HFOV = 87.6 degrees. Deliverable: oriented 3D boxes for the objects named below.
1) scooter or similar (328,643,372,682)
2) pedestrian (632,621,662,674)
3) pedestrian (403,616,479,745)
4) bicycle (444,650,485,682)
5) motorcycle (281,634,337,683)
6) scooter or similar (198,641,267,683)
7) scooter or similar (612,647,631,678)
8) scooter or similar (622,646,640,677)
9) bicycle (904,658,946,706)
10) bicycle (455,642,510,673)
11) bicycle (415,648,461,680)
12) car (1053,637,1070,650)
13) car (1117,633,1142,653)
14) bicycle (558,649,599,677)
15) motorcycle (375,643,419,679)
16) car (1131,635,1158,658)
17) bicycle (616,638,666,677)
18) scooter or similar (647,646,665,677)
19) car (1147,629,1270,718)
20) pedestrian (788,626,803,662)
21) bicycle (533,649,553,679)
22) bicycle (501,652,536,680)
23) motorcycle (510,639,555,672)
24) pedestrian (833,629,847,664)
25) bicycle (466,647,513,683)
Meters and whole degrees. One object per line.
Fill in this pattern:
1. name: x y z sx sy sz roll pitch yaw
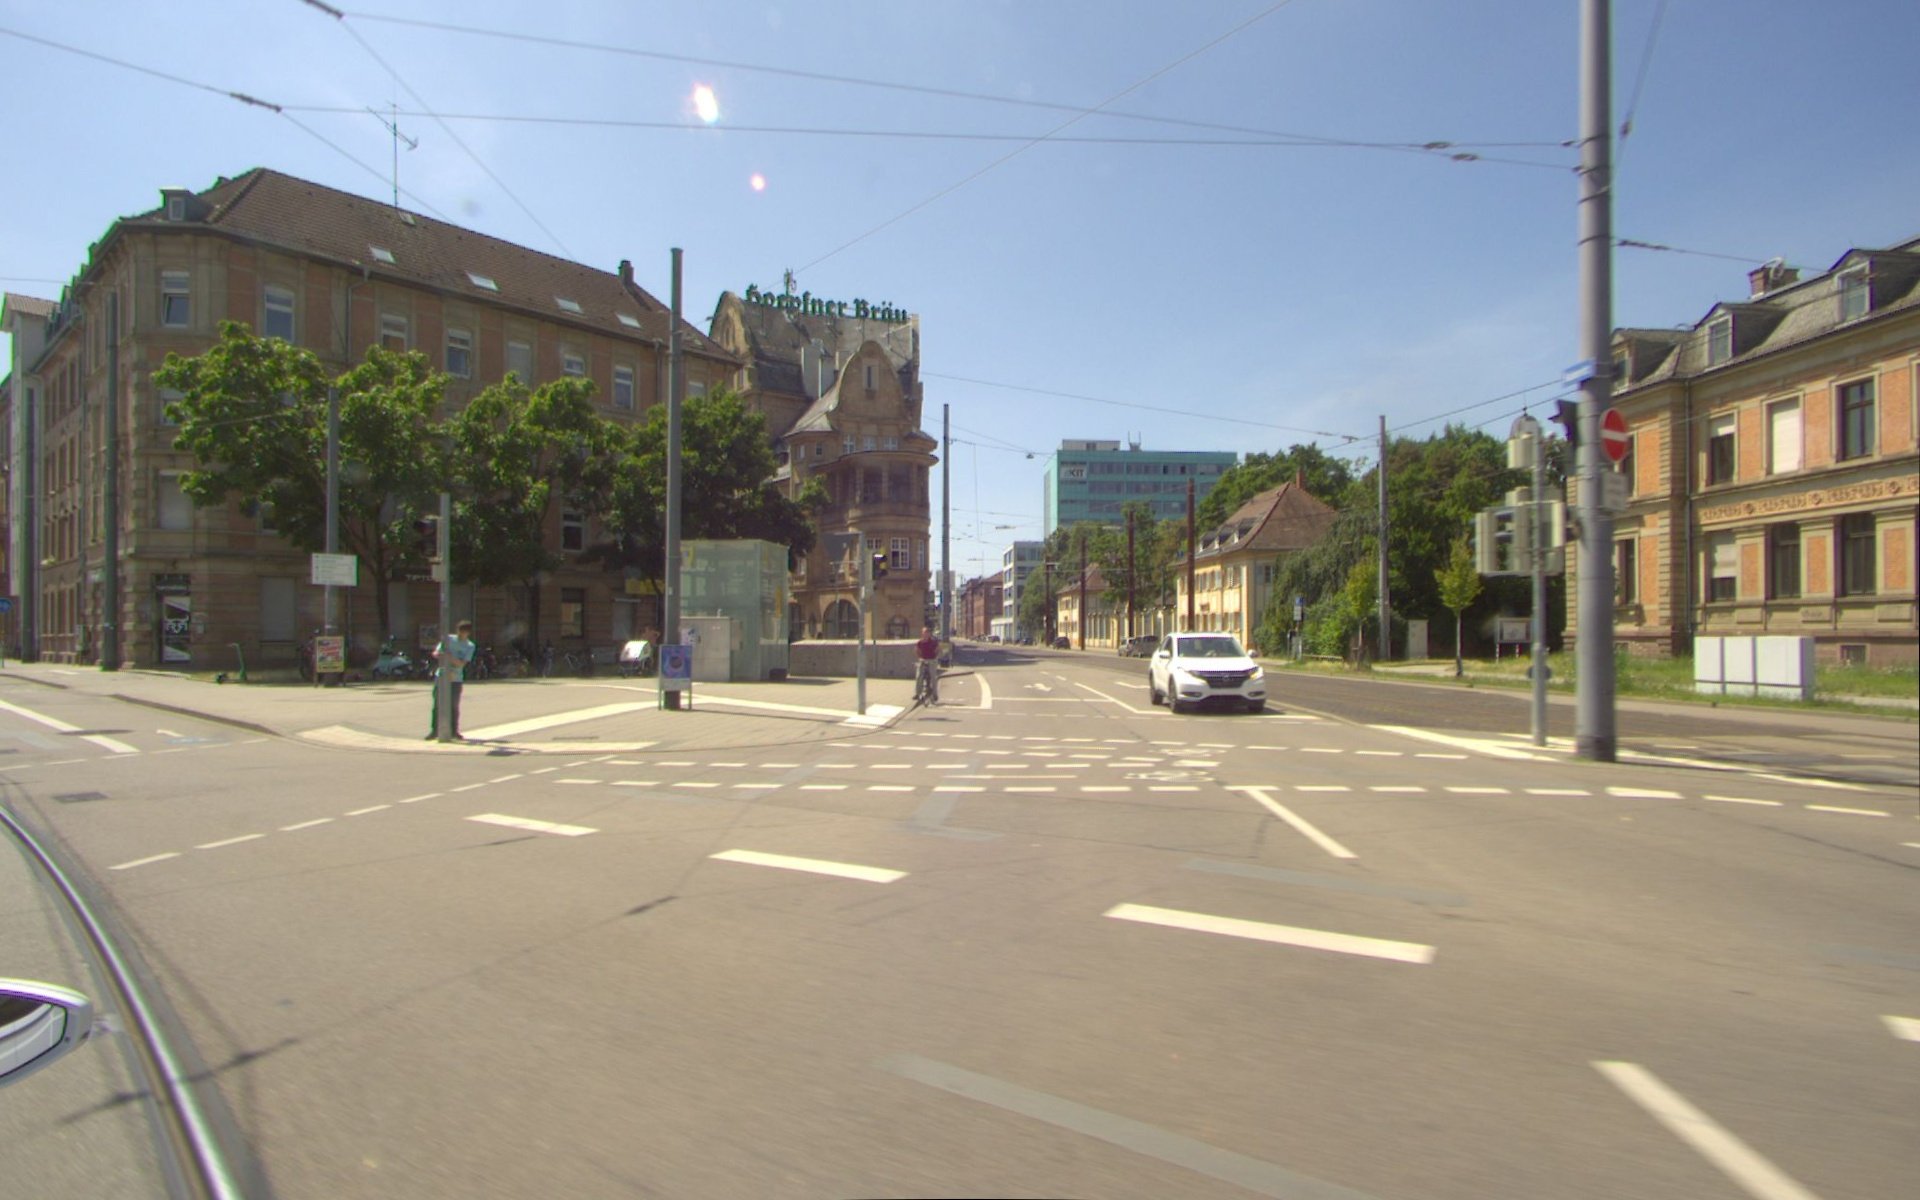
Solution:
1. scooter or similar: -18.611 1.899 30.529 1.360 1.166 0.599 -2 -2 32
2. pedestrian: -10.839 1.645 34.737 0.798 1.798 0.825 0 -2 -3
3. pedestrian: -7.487 1.145 14.494 0.795 1.802 0.873 1 -1 -16
4. bicycle: -16.395 2.166 33.091 1.819 0.977 0.641 -1 -2 44
5. motorcycle: -19.239 1.707 29.571 2.567 1.379 0.760 -2 -2 42
6. scooter or similar: -21.014 1.782 28.957 0.702 1.170 1.524 0 -1 12
7. scooter or similar: -12.714 2.341 37.667 0.263 1.140 0.987 0 -1 7
8. scooter or similar: -12.401 2.312 37.775 0.263 1.140 0.987 0 -1 7
9. bicycle: -0.813 1.926 23.828 0.712 1.018 2.020 0 -2 6
10. bicycle: -18.914 2.265 39.708 0.705 1.193 1.871 -1 -2 34
11. bicycle: -16.961 2.054 32.542 2.059 0.977 0.642 -1 -2 42
12. car: 12.743 5.459 125.870 1.660 1.660 3.583 0 -2 -3
13. car: 14.732 3.744 87.209 1.609 1.688 3.483 0 -2 1
14. bicycle: -13.808 2.273 36.236 1.545 1.004 0.502 0 -1 27
15. motorcycle: -17.510 1.882 31.141 1.728 1.110 0.687 -2 -2 42
16. car: 15.018 3.773 81.785 1.609 1.805 3.483 0 -2 1
17. bicycle: -10.841 1.941 34.085 1.078 1.267 2.222 0 -2 -3
18. scooter or similar: -11.419 2.312 37.572 0.263 1.140 0.987 0 -1 7
19. car: 4.975 1.428 20.561 1.675 1.625 4.178 0 -2 3
20. pedestrian: -7.819 2.083 47.484 0.602 1.720 0.586 0 -1 0
21. bicycle: -14.648 2.227 35.160 0.450 1.004 1.421 1 -2 -31
22. bicycle: -15.115 2.249 34.277 1.411 0.917 0.454 -1 -2 37
23. motorcycle: -17.426 2.265 40.839 0.497 1.306 1.633 -1 -2 40
24. pedestrian: -5.866 2.254 48.855 0.602 1.720 0.586 0 -1 2
25. bicycle: -15.839 2.180 33.682 1.815 1.161 0.643 -1 -2 37
